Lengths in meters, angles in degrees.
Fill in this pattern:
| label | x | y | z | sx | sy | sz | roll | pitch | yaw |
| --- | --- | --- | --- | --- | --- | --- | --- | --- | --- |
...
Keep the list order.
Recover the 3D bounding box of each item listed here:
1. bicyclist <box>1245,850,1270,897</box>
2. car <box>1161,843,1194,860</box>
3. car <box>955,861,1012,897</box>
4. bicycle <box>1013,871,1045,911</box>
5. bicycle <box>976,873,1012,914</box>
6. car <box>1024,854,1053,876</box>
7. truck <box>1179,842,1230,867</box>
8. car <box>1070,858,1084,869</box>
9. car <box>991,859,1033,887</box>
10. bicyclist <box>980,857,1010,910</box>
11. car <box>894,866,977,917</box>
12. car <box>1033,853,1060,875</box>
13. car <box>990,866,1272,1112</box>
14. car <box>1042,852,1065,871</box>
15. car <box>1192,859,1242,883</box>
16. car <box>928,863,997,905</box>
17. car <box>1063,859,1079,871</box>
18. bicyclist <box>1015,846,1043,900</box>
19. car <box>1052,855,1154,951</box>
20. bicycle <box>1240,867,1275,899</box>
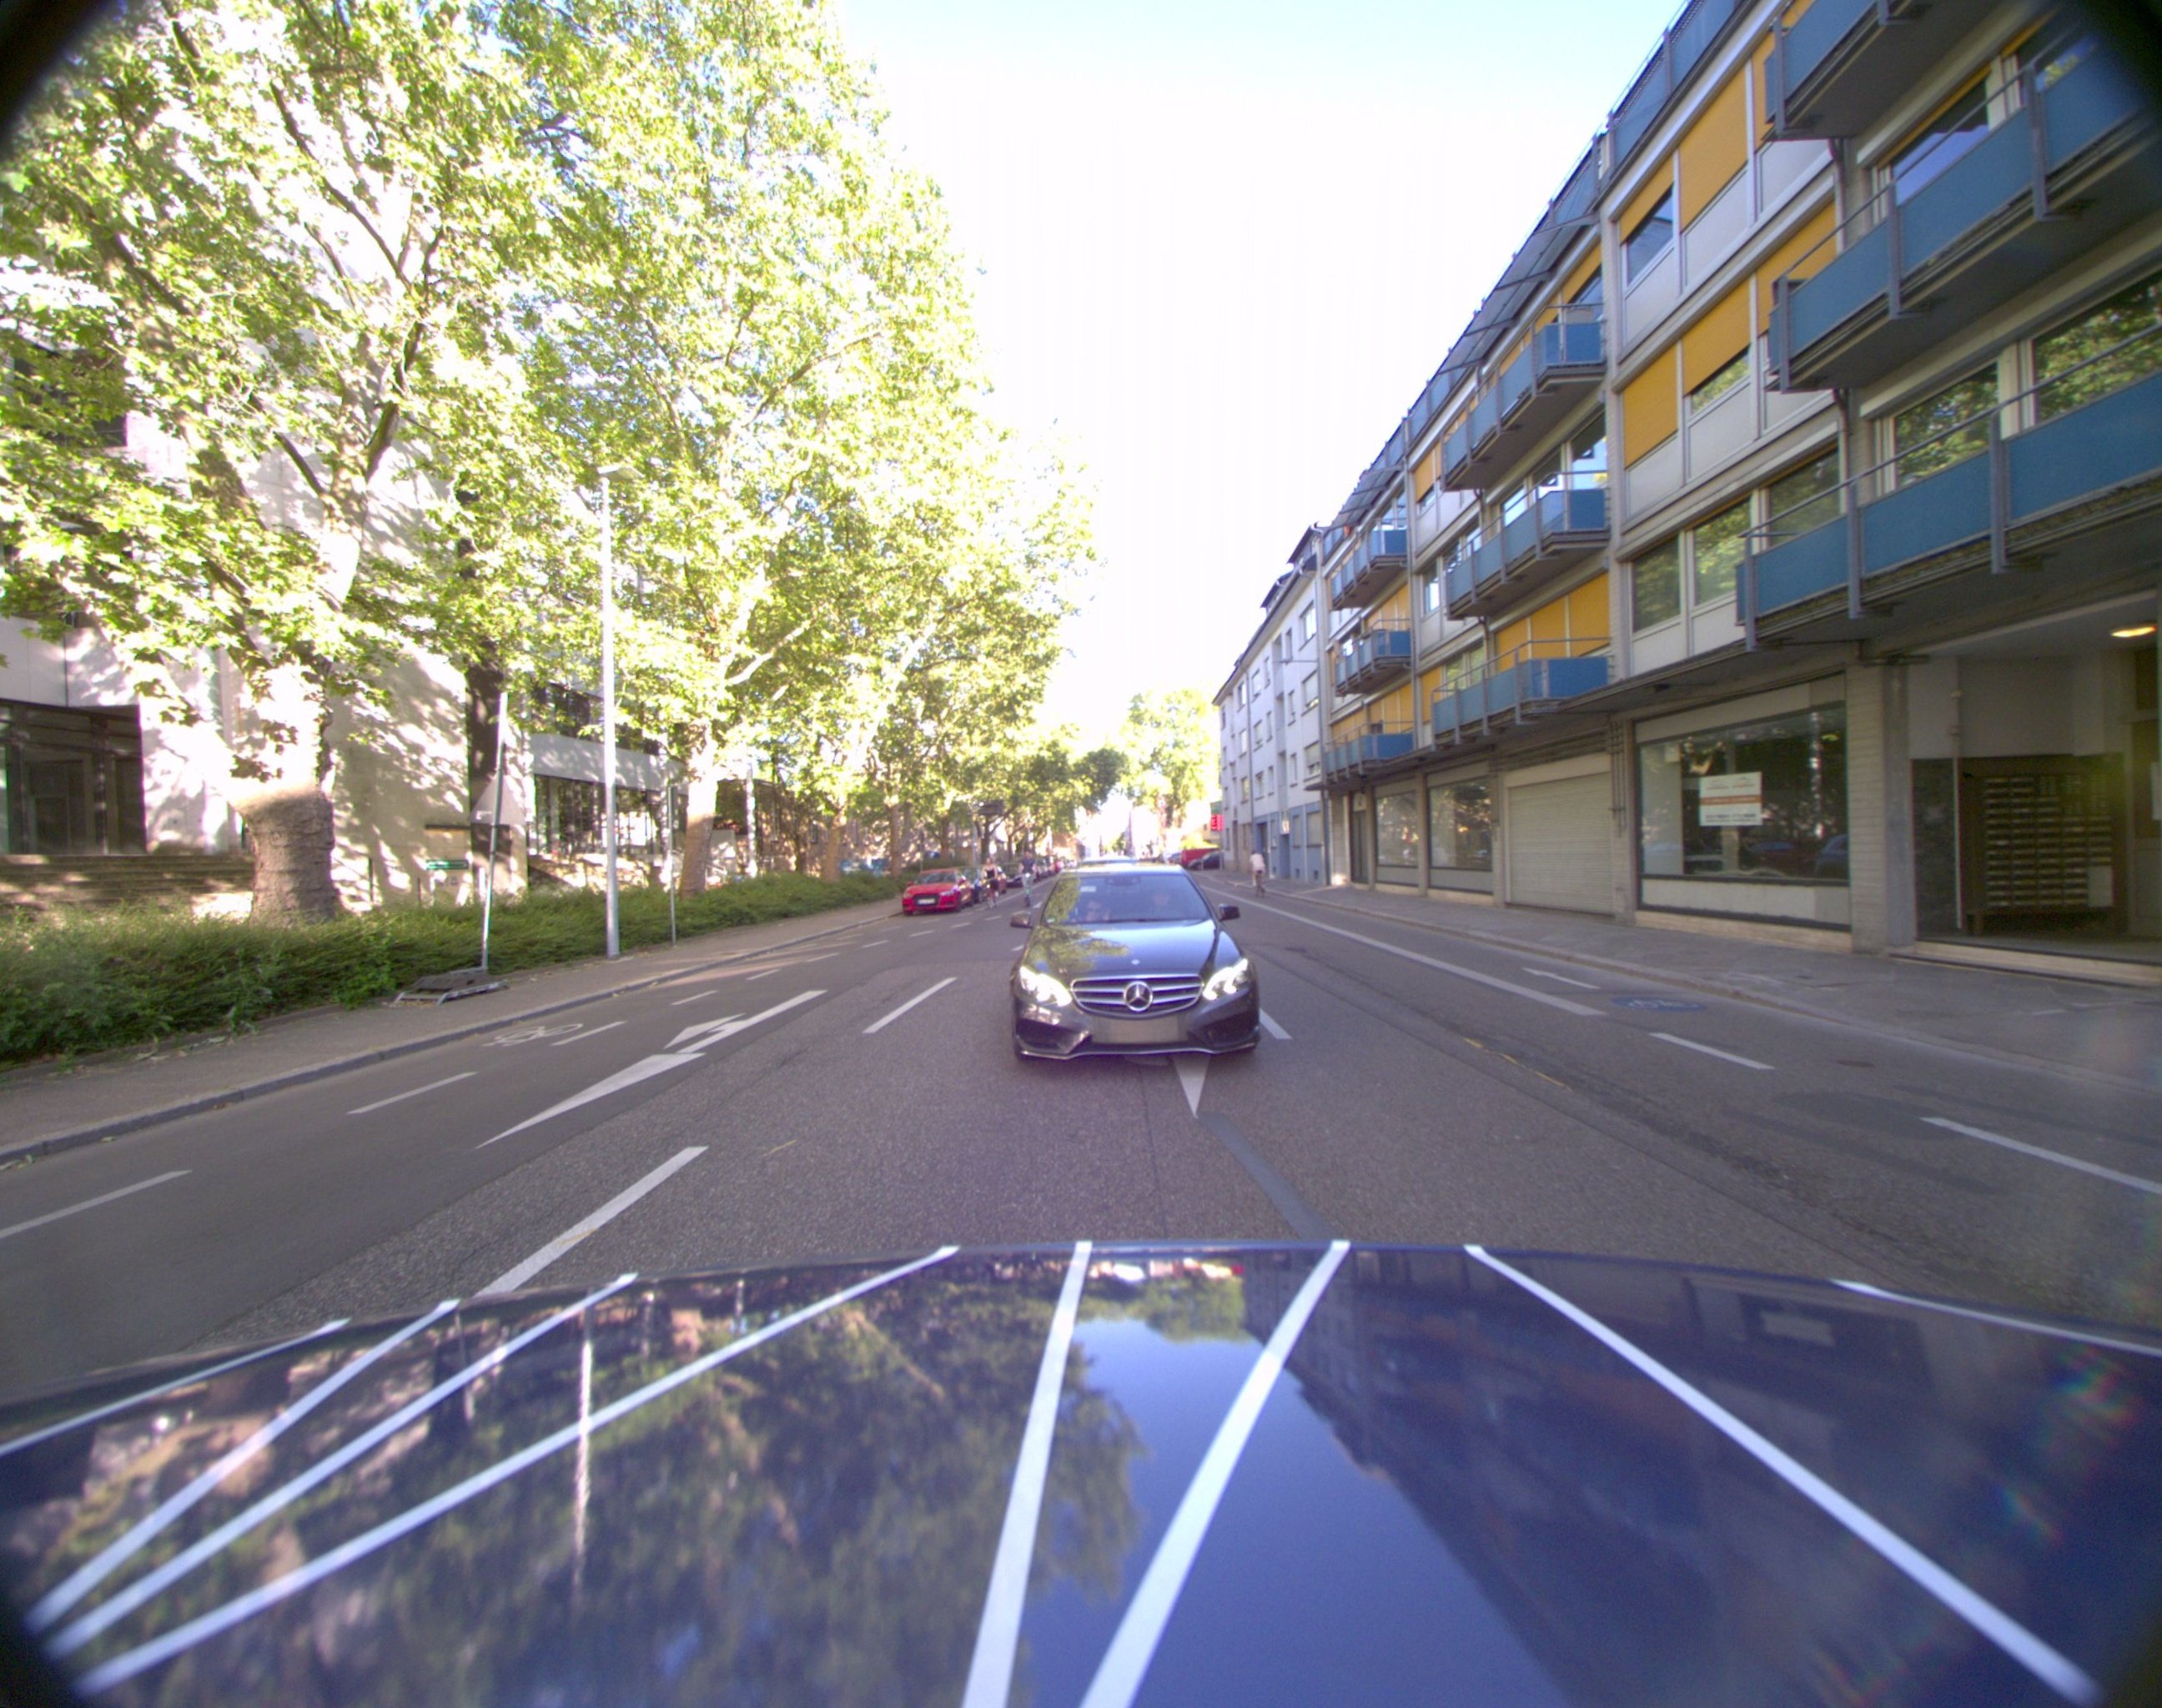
| label | x | y | z | sx | sy | sz | roll | pitch | yaw |
| --- | --- | --- | --- | --- | --- | --- | --- | --- | --- |
| bicyclist | 6.292 | 0.675 | 27.110 | 0.692 | 1.621 | 0.758 | -1 | 1 | 1 |
| car | 12.279 | -0.350 | 96.883 | 3.997 | 2.002 | 2.000 | -2 | 1 | 0 |
| car | -4.480 | 1.127 | 35.602 | 1.898 | 1.443 | 4.077 | -2 | 0 | 3 |
| bicycle | -1.695 | 1.200 | 25.327 | 0.770 | 1.129 | 2.815 | -4 | 1 | 1 |
| bicycle | -2.862 | 1.270 | 25.255 | 0.770 | 1.129 | 2.815 | -4 | 1 | 1 |
| car | -3.490 | 0.886 | 62.461 | 1.898 | 1.642 | 4.077 | -2 | 0 | 3 |
| truck | 11.645 | 0.012 | 71.659 | 4.403 | 2.146 | 1.877 | -2 | 1 | 0 |
| car | -0.622 | 1.370 | 114.333 | 1.898 | 1.542 | 4.077 | -2 | 0 | 3 |
| car | -4.045 | 1.094 | 44.984 | 1.898 | 1.443 | 4.077 | -2 | 0 | 3 |
| bicyclist | -2.881 | 0.967 | 25.431 | 0.770 | 1.670 | 0.896 | -4 | 1 | 1 |
| car | -4.741 | 1.195 | 25.383 | 1.898 | 1.435 | 4.077 | -2 | 0 | 0 |
| car | -3.035 | 0.840 | 67.208 | 1.898 | 1.840 | 4.077 | -2 | 0 | 3 |
| car | 0.359 | 0.927 | 7.340 | 1.798 | 1.460 | 4.719 | -2 | 0 | 1 |
| car | -2.784 | 0.733 | 78.196 | 1.898 | 1.807 | 4.077 | -2 | 0 | 3 |
| car | 11.826 | 1.463 | 66.395 | 3.997 | 1.825 | 1.830 | -2 | 1 | 0 |
| car | -4.602 | 1.121 | 30.100 | 1.898 | 1.439 | 4.077 | -2 | 0 | 3 |
| car | -1.288 | 1.510 | 104.295 | 1.898 | 1.542 | 4.077 | -2 | 0 | 3 |
| bicyclist | -1.737 | 0.620 | 25.481 | 0.770 | 1.723 | 0.901 | -4 | 1 | 1 |
| car | 0.475 | 0.869 | 15.448 | 1.747 | 1.594 | 4.000 | -2 | 1 | 3 |
| bicycle | 6.290 | 1.006 | 27.215 | 0.692 | 0.980 | 2.632 | -1 | 1 | 1 |
